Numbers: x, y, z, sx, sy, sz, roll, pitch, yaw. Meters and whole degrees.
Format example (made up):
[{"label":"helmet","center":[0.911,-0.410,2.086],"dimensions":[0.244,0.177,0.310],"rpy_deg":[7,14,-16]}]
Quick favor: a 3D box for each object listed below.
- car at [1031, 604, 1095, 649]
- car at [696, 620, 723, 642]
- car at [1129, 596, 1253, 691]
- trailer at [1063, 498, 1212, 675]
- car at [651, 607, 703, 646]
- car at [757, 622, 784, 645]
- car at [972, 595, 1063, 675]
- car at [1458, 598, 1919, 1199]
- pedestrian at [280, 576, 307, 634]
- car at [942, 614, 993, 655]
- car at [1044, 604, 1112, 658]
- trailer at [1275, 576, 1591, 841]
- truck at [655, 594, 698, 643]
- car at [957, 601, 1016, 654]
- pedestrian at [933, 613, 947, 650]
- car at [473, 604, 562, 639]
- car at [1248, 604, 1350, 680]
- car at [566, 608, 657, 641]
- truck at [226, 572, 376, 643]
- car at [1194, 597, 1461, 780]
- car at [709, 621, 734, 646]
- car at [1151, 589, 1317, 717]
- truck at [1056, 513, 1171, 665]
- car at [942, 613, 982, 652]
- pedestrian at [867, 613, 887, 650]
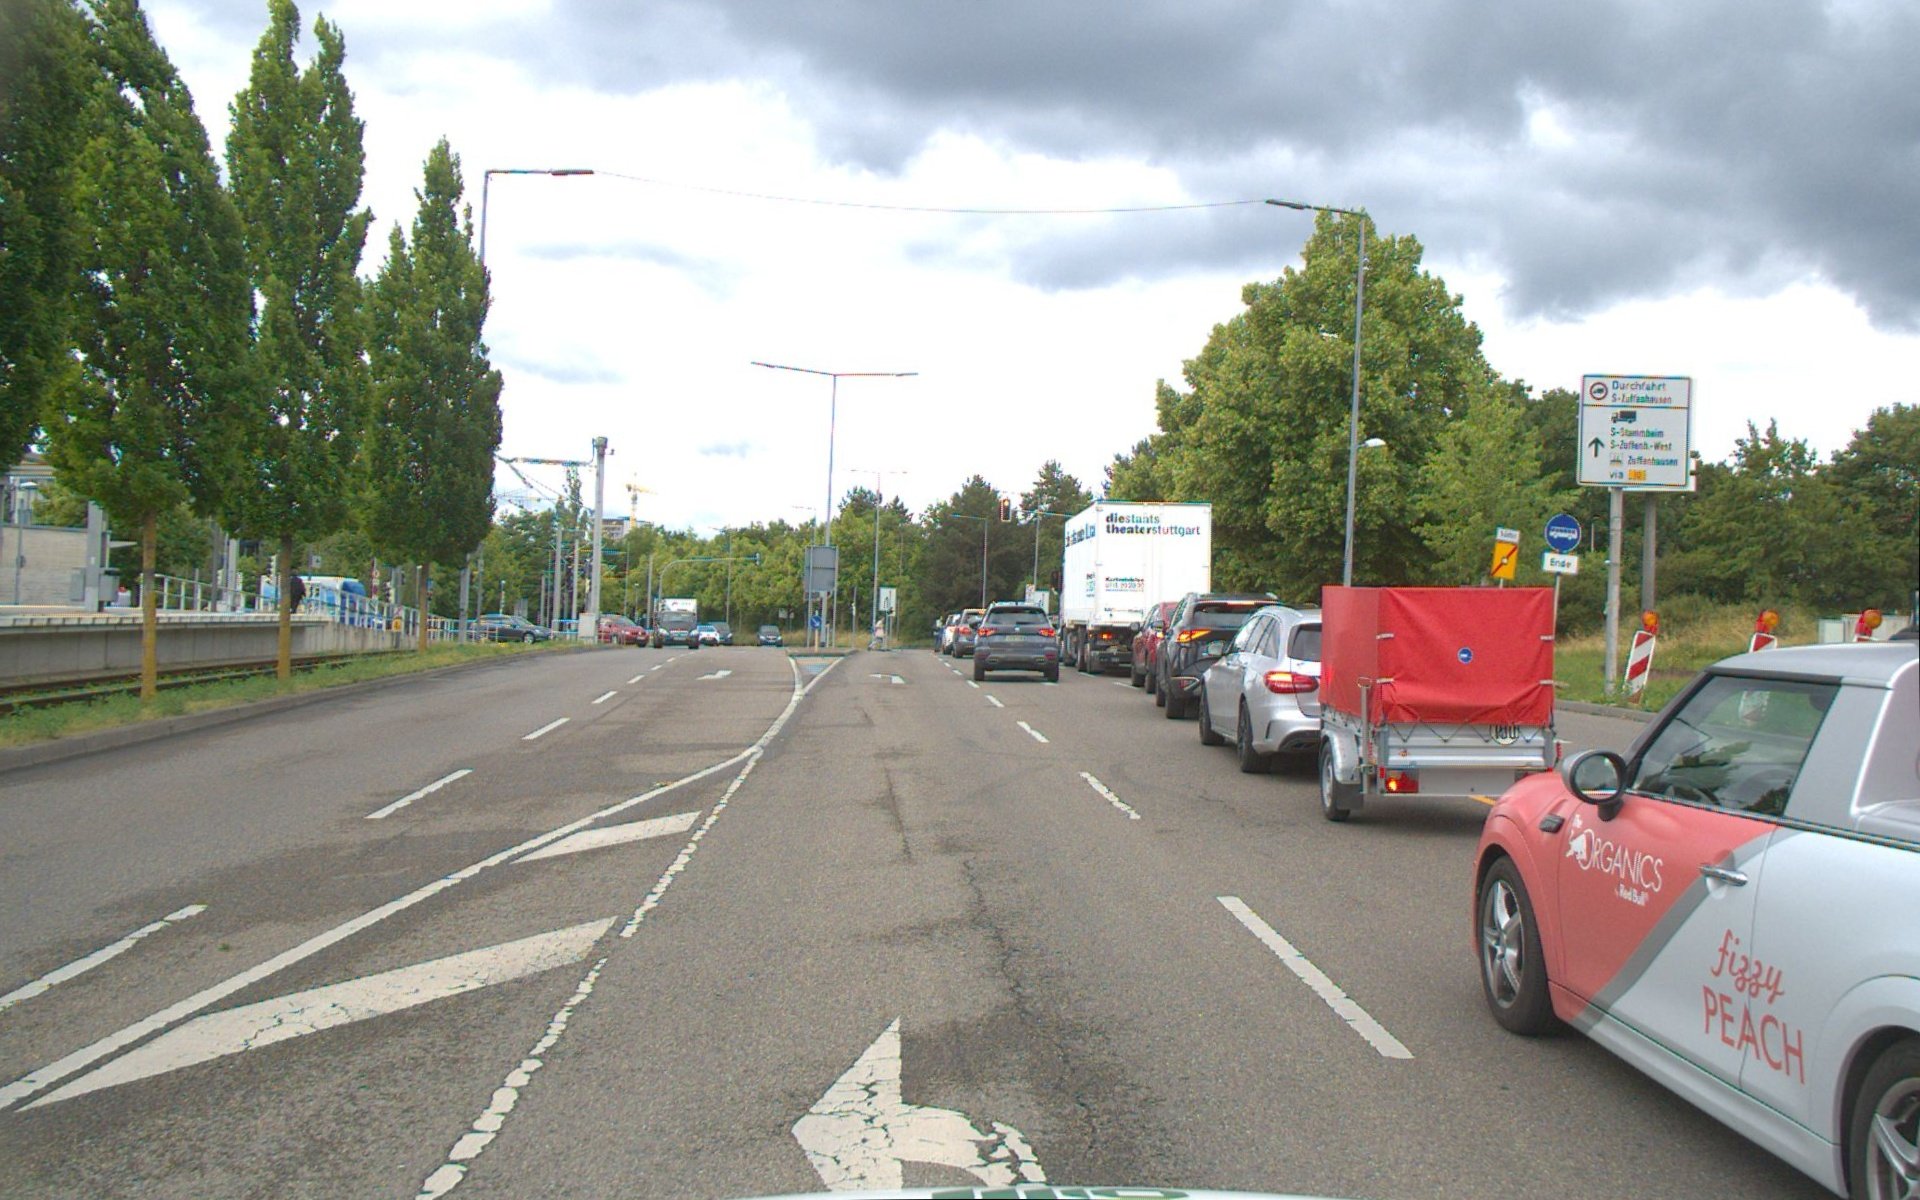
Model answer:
[{"label":"car","center":[3.460,0.898,56.212],"dimensions":[1.788,1.460,4.211],"rpy_deg":[1,-1,-1]},{"label":"car","center":[-18.403,2.260,121.587],"dimensions":[1.741,1.534,3.742],"rpy_deg":[0,1,-6]},{"label":"car","center":[4.037,0.730,29.462],"dimensions":[1.672,1.551,4.319],"rpy_deg":[1,0,1]},{"label":"trailer","center":[4.051,-0.296,39.390],"dimensions":[2.514,3.770,7.761],"rpy_deg":[1,0,-1]},{"label":"car","center":[-12.020,1.135,70.094],"dimensions":[1.699,1.601,3.687],"rpy_deg":[0,-1,-18]},{"label":"car","center":[-14.330,2.481,124.870],"dimensions":[1.880,1.603,3.991],"rpy_deg":[0,1,-9]},{"label":"car","center":[1.116,0.703,33.738],"dimensions":[1.664,1.512,3.999],"rpy_deg":[1,-1,-1]},{"label":"car","center":[2.840,0.752,4.643],"dimensions":[1.684,1.483,3.695],"rpy_deg":[1,0,-2]},{"label":"pedestrian","center":[-21.604,0.180,53.653],"dimensions":[0.561,1.860,0.792],"rpy_deg":[1,-1,-6]},{"label":"car","center":[0.238,1.278,61.492],"dimensions":[1.687,1.447,4.354],"rpy_deg":[1,-1,-2]},{"label":"car","center":[3.512,0.898,49.729],"dimensions":[1.774,1.377,4.119],"rpy_deg":[1,2,0]},{"label":"trailer","center":[3.239,0.665,11.882],"dimensions":[1.380,1.622,3.304],"rpy_deg":[1,0,1]},{"label":"truck","center":[-22.731,1.491,132.502],"dimensions":[2.615,3.713,9.467],"rpy_deg":[2,-1,-14]},{"label":"car","center":[0.800,0.837,52.449],"dimensions":[1.762,1.550,4.187],"rpy_deg":[0,1,0]},{"label":"pedestrian","center":[-0.903,1.404,74.327],"dimensions":[0.575,1.650,0.423],"rpy_deg":[0,1,-4]},{"label":"car","center":[-22.344,1.069,83.596],"dimensions":[3.902,1.623,2.002],"rpy_deg":[1,2,7]},{"label":"car","center":[7.774,0.936,38.132],"dimensions":[1.539,1.598,3.057],"rpy_deg":[2,0,-3]},{"label":"car","center":[-16.890,1.167,80.202],"dimensions":[3.986,1.514,1.709],"rpy_deg":[1,0,12]},{"label":"truck","center":[-35.749,0.393,89.796],"dimensions":[7.087,3.661,2.694],"rpy_deg":[1,1,4]},{"label":"car","center":[3.321,0.732,15.780],"dimensions":[1.637,1.473,4.490],"rpy_deg":[1,0,1]},{"label":"car","center":[-18.853,2.667,131.079],"dimensions":[1.880,1.758,3.992],"rpy_deg":[0,-5,-7]},{"label":"car","center":[3.675,0.662,22.865],"dimensions":[1.806,1.588,4.406],"rpy_deg":[0,0,3]},{"label":"truck","center":[3.951,-0.292,43.364],"dimensions":[2.519,3.770,4.105],"rpy_deg":[1,0,-1]},{"label":"car","center":[0.059,1.309,66.364],"dimensions":[1.504,1.531,2.668],"rpy_deg":[1,-2,-2]},{"label":"pedestrian","center":[-3.646,1.371,72.448],"dimensions":[0.847,1.587,0.518],"rpy_deg":[1,1,-4]}]
